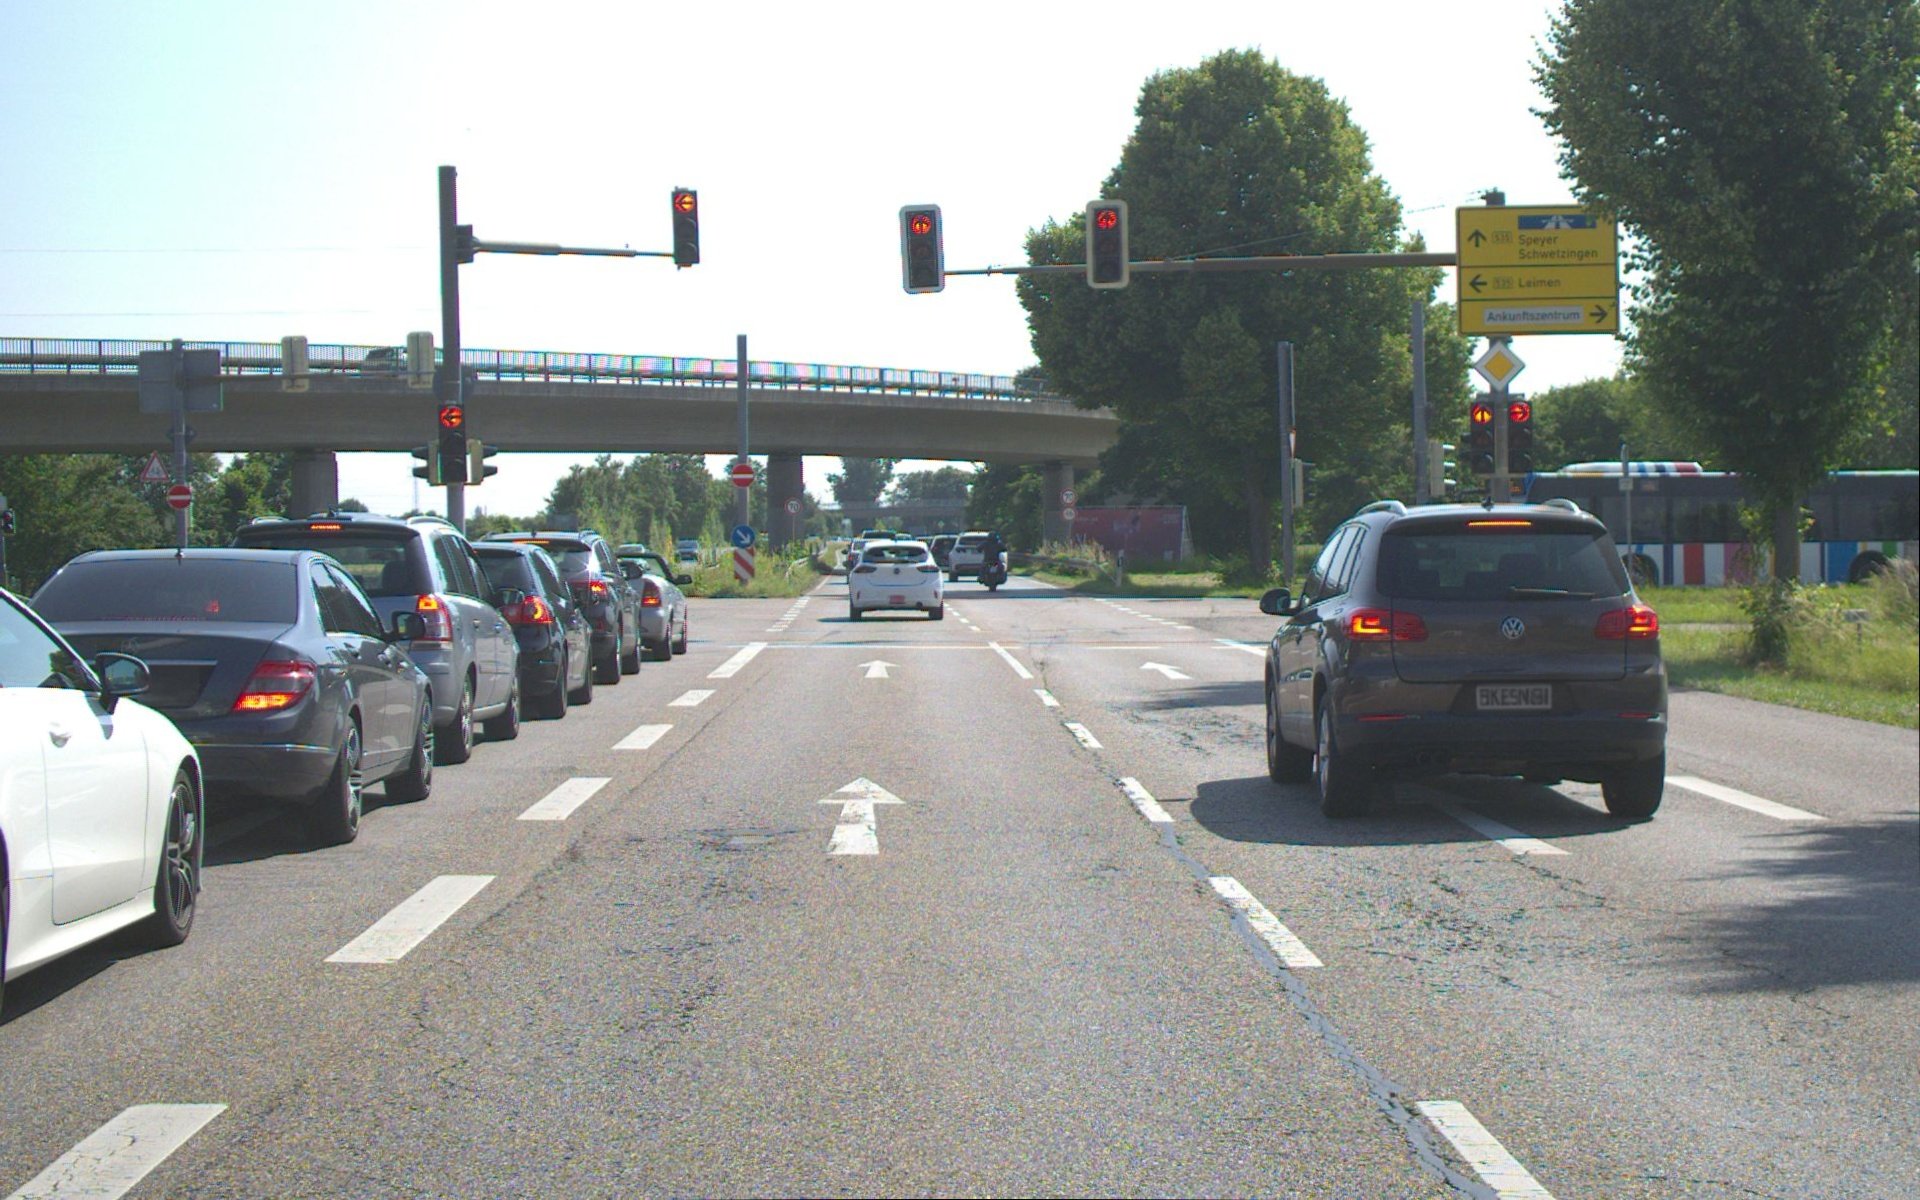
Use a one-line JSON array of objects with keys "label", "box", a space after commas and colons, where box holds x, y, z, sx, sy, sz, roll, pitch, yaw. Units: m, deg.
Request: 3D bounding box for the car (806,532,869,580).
[{"label": "car", "box": [-3.934, -1.426, 110.740, 1.873, 1.487, 4.000, -1, 1, 0]}]

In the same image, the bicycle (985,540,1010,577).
[{"label": "bicycle", "box": [1.025, -1.136, 93.865, 0.600, 0.980, 2.361, -1, 1, -1]}]

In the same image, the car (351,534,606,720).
[{"label": "car", "box": [-4.062, 0.174, 29.556, 1.666, 1.469, 4.098, 0, 1, -1]}]

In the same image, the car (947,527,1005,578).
[{"label": "car", "box": [0.539, -1.603, 114.967, 1.873, 1.634, 4.000, 1, 1, 0]}]

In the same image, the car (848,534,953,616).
[{"label": "car", "box": [-1.064, -0.482, 63.301, 1.851, 1.456, 4.000, 1, 1, 0]}]

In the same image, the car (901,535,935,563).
[{"label": "car", "box": [-2.576, -3.100, 210.302, 1.993, 1.650, 4.000, 1, 0, -1]}]

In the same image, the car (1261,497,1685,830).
[{"label": "car", "box": [2.767, 0.288, 19.390, 1.755, 1.650, 4.146, 1, 1, 0]}]

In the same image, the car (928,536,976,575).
[{"label": "car", "box": [-0.351, -1.959, 151.803, 1.993, 1.626, 4.000, 1, 0, -1]}]

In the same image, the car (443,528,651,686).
[{"label": "car", "box": [-4.267, 0.027, 36.042, 1.728, 1.542, 4.098, 0, 1, -1]}]

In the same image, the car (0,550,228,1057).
[{"label": "car", "box": [-3.640, 0.563, 10.750, 1.803, 1.420, 4.642, 0, 1, -1]}]

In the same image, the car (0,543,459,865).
[{"label": "car", "box": [-3.729, 0.433, 17.679, 1.714, 1.405, 4.355, 1, 1, -1]}]

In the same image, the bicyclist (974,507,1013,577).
[{"label": "bicyclist", "box": [0.914, -1.591, 94.206, 1.007, 1.880, 1.327, -1, 1, 0]}]

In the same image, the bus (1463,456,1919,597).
[{"label": "bus", "box": [17.522, -1.701, 77.776, 11.935, 2.867, 2.943, -2, 1, -16]}]

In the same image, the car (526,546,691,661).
[{"label": "car", "box": [-4.319, 0.013, 42.710, 1.673, 1.330, 4.098, 0, 1, -1]}]

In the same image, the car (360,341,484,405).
[{"label": "car", "box": [-17.720, -7.467, 113.338, 1.997, 1.831, 3.993, 2, 0, 29]}]

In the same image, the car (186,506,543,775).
[{"label": "car", "box": [-4.014, 0.205, 23.830, 1.741, 1.666, 4.357, -1, 1, -1]}]

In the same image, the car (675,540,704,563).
[{"label": "car", "box": [-18.097, -3.232, 230.148, 1.614, 1.437, 3.776, -3, 1, -1]}]
